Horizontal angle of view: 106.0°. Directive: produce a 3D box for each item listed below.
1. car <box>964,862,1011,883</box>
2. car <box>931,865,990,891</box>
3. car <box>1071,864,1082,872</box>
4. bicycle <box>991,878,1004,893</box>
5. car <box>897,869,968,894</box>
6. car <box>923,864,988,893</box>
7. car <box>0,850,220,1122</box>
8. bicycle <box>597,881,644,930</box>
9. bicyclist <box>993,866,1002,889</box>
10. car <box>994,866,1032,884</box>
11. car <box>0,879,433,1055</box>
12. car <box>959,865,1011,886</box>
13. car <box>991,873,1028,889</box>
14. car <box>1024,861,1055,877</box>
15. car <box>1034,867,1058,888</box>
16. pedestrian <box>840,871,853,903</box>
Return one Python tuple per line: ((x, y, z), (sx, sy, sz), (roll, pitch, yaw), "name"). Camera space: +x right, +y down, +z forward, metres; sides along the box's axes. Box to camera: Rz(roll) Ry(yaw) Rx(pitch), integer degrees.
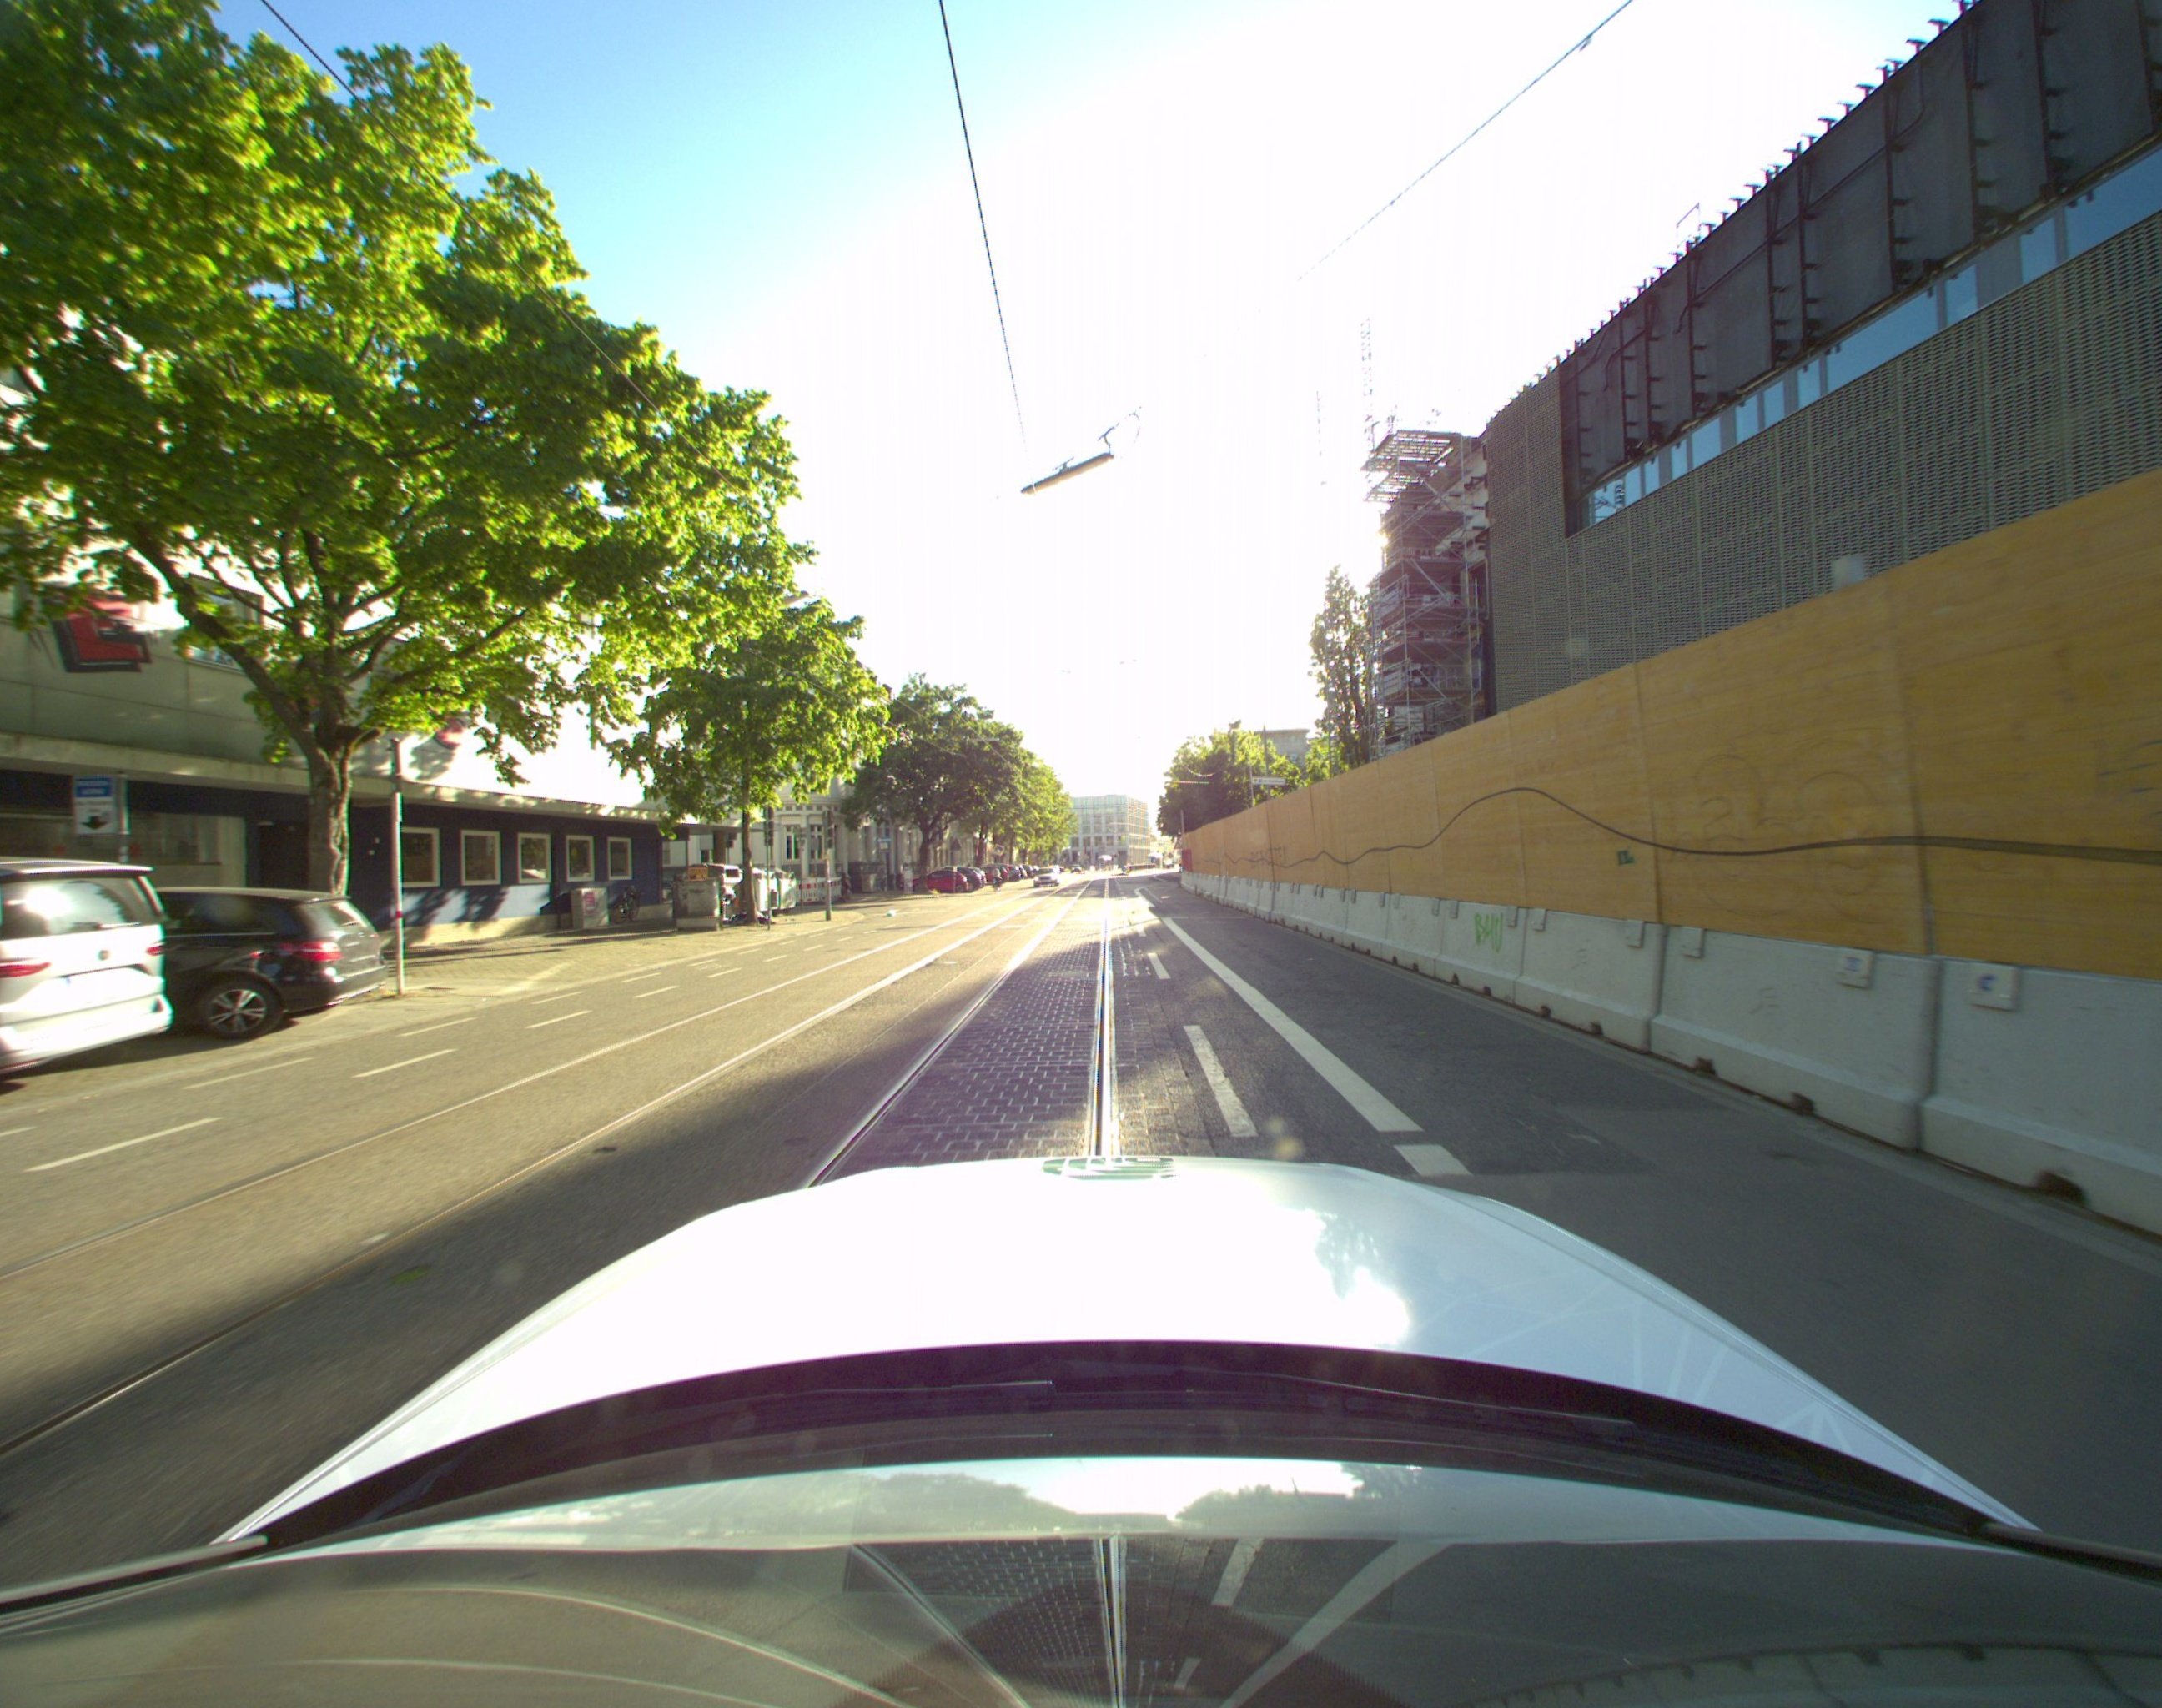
((-8.408, 1.686, 73.529), (3.850, 1.832, 1.716), (1, -2, -28), "car")
((-8.483, 1.683, 57.390), (3.700, 1.721, 1.594), (-1, -1, -34), "car")
((-0.858, 2.840, 161.686), (1.550, 1.530, 4.006), (-2, -1, 6), "car")
((-5.095, 1.927, 49.709), (0.447, 0.881, 1.902), (-2, -1, 2), "bicycle")
((-8.924, 1.625, 49.019), (3.927, 1.453, 1.621), (1, -2, -32), "car")
((-7.957, 1.541, 51.769), (3.700, 1.721, 1.594), (-1, -1, -34), "car")
((-10.074, 0.962, 6.190), (4.368, 1.987, 1.936), (1, -1, -20), "car")
((-13.620, 1.485, 24.128), (0.525, 1.344, 2.175), (-1, -1, -11), "bicycle")
((-5.094, 1.449, 49.717), (0.456, 1.378, 0.641), (-2, -1, 2), "bicyclist")
((-6.729, 2.032, 80.377), (3.391, 1.698, 1.393), (-1, -1, -26), "car")
((-10.165, 1.132, 8.979), (4.300, 1.667, 1.897), (1, -2, -23), "car")
((-8.264, 1.843, 70.450), (4.181, 1.721, 1.570), (-1, -1, -26), "car")
((-7.224, 2.723, 82.408), (3.391, 1.420, 1.393), (-1, -1, -26), "car")
((-4.784, 1.707, 94.075), (3.283, 1.698, 1.460), (-1, -1, -21), "car")
((-2.581, 1.752, 60.848), (1.704, 1.436, 4.168), (-2, -1, -1), "car")
((-11.816, 1.669, 41.025), (0.342, 1.572, 0.515), (-2, -1, 30), "pedestrian")
